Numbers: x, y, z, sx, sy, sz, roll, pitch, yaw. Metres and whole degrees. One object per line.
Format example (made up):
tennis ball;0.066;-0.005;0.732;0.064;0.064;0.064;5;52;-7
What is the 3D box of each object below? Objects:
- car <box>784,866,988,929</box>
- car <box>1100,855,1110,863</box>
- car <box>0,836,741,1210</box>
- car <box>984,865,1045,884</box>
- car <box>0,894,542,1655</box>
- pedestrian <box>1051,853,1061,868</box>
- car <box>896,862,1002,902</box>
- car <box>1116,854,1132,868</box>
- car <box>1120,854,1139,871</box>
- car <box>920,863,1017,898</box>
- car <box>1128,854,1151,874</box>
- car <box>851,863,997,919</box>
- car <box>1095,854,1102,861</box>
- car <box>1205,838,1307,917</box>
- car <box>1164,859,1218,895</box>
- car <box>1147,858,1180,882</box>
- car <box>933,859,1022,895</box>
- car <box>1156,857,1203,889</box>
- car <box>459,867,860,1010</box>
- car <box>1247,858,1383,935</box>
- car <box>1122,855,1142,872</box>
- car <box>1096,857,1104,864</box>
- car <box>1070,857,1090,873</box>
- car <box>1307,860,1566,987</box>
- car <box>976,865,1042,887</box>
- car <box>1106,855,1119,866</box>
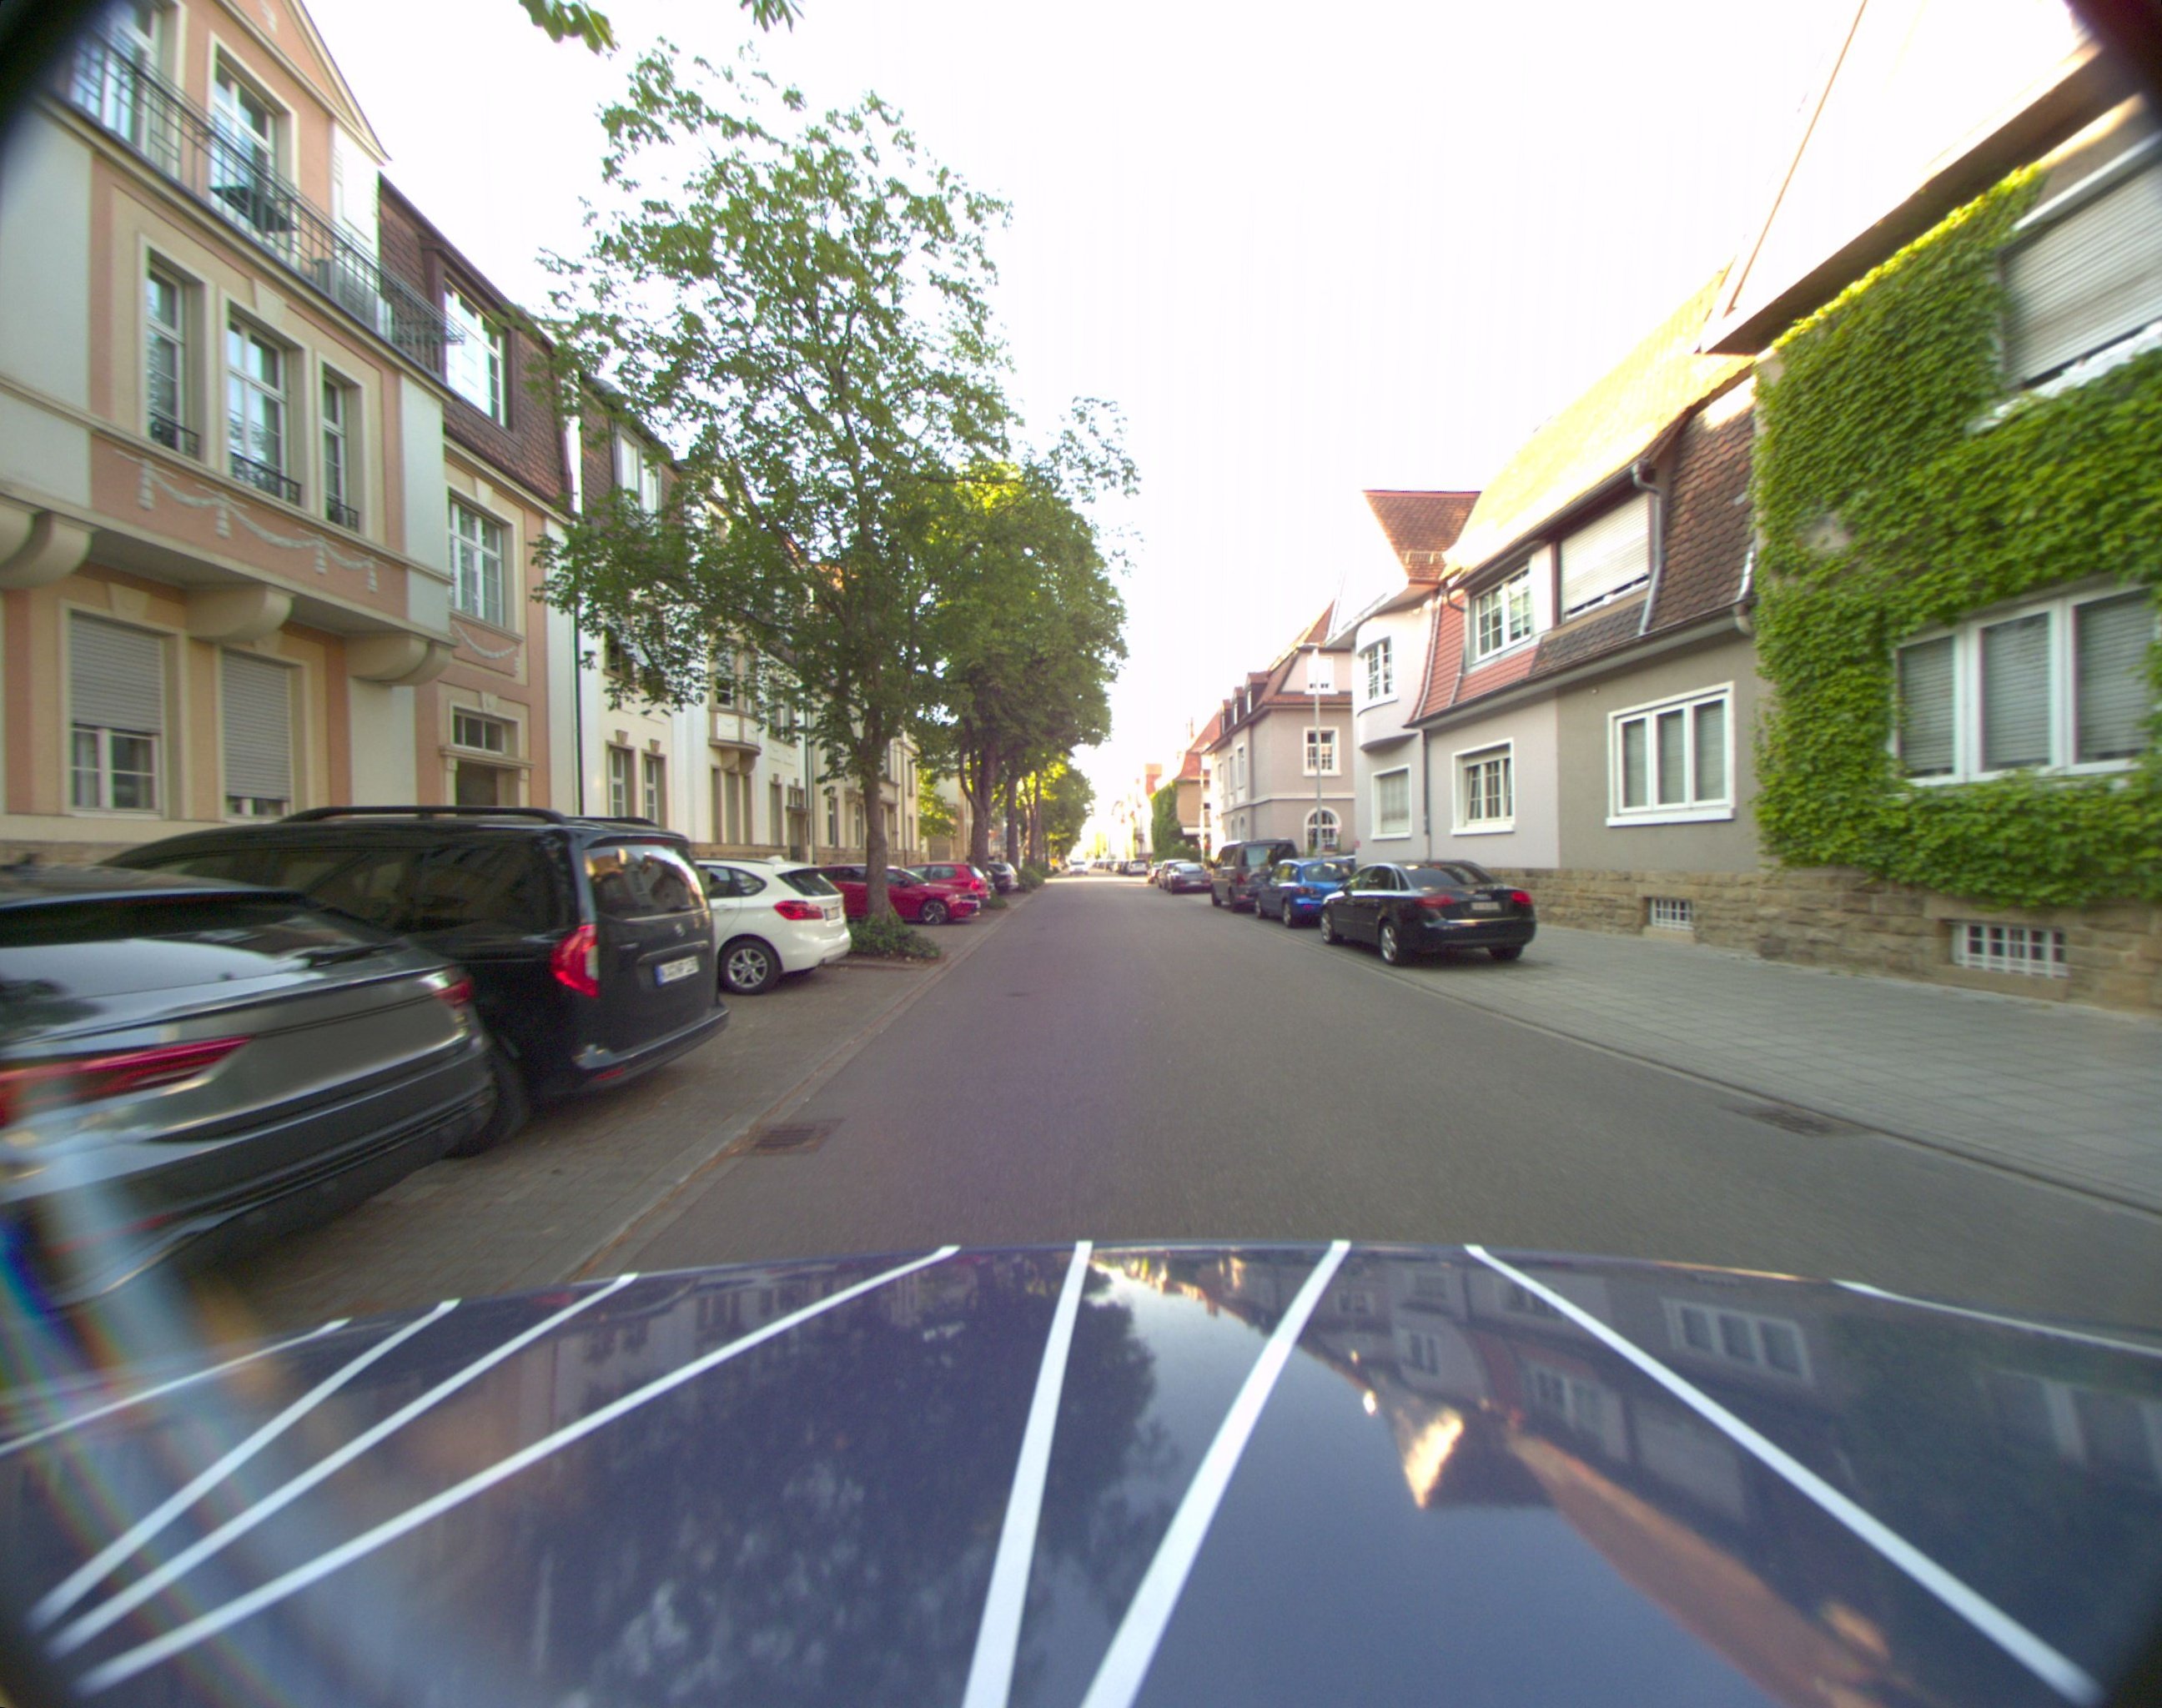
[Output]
car;-4.703;1.026;18.758;4.530;1.443;1.868;0;0;3
car;4.598;0.957;146.008;1.699;1.520;3.677;-3;0;1
car;-4.560;0.823;4.643;4.121;1.826;1.844;0;0;-2
car;-3.849;1.192;44.461;3.399;1.057;1.542;0;0;1
car;-4.603;0.939;2.302;4.522;1.514;1.844;0;0;-4
pedestrian;-3.103;0.819;95.089;1.119;1.926;1.097;-3;0;-1
car;-4.910;1.029;28.522;3.680;1.457;1.576;0;0;1
car;4.944;0.838;87.894;1.699;1.520;3.677;-3;0;1
car;4.894;0.847;77.646;1.699;1.520;3.677;-3;0;1
car;-4.564;1.057;31.073;3.680;1.390;1.576;0;0;1
car;4.960;0.818;64.888;1.699;1.558;3.677;-3;0;1
car;-4.324;1.001;21.281;3.680;1.473;1.659;0;0;3
car;4.535;0.890;199.564;1.699;1.520;3.677;-3;0;1
car;4.954;0.620;22.232;1.842;1.963;4.612;-3;0;0
car;4.798;0.968;33.542;1.932;1.376;4.063;-3;0;3
car;5.089;0.974;47.262;1.662;1.354;3.677;-3;0;1
car;-4.545;0.990;33.655;3.680;1.548;1.576;0;0;1
car;4.986;0.929;39.021;1.932;1.458;4.062;-3;0;1
car;-4.940;0.954;9.326;3.950;1.568;1.719;0;0;-1
car;5.121;0.864;17.219;1.768;1.438;4.062;-3;0;0
car;4.827;0.854;72.153;1.699;1.520;3.677;-3;0;1
car;4.156;1.391;170.175;1.699;1.520;3.677;-3;0;1
car;-0.066;1.058;75.181;1.819;1.454;4.073;-2;0;1
car;5.003;0.863;11.504;1.806;1.438;4.428;-3;0;0
car;-3.877;1.169;41.255;3.399;1.143;1.542;0;0;1
car;4.656;0.978;112.750;1.699;1.520;3.677;-3;0;1
